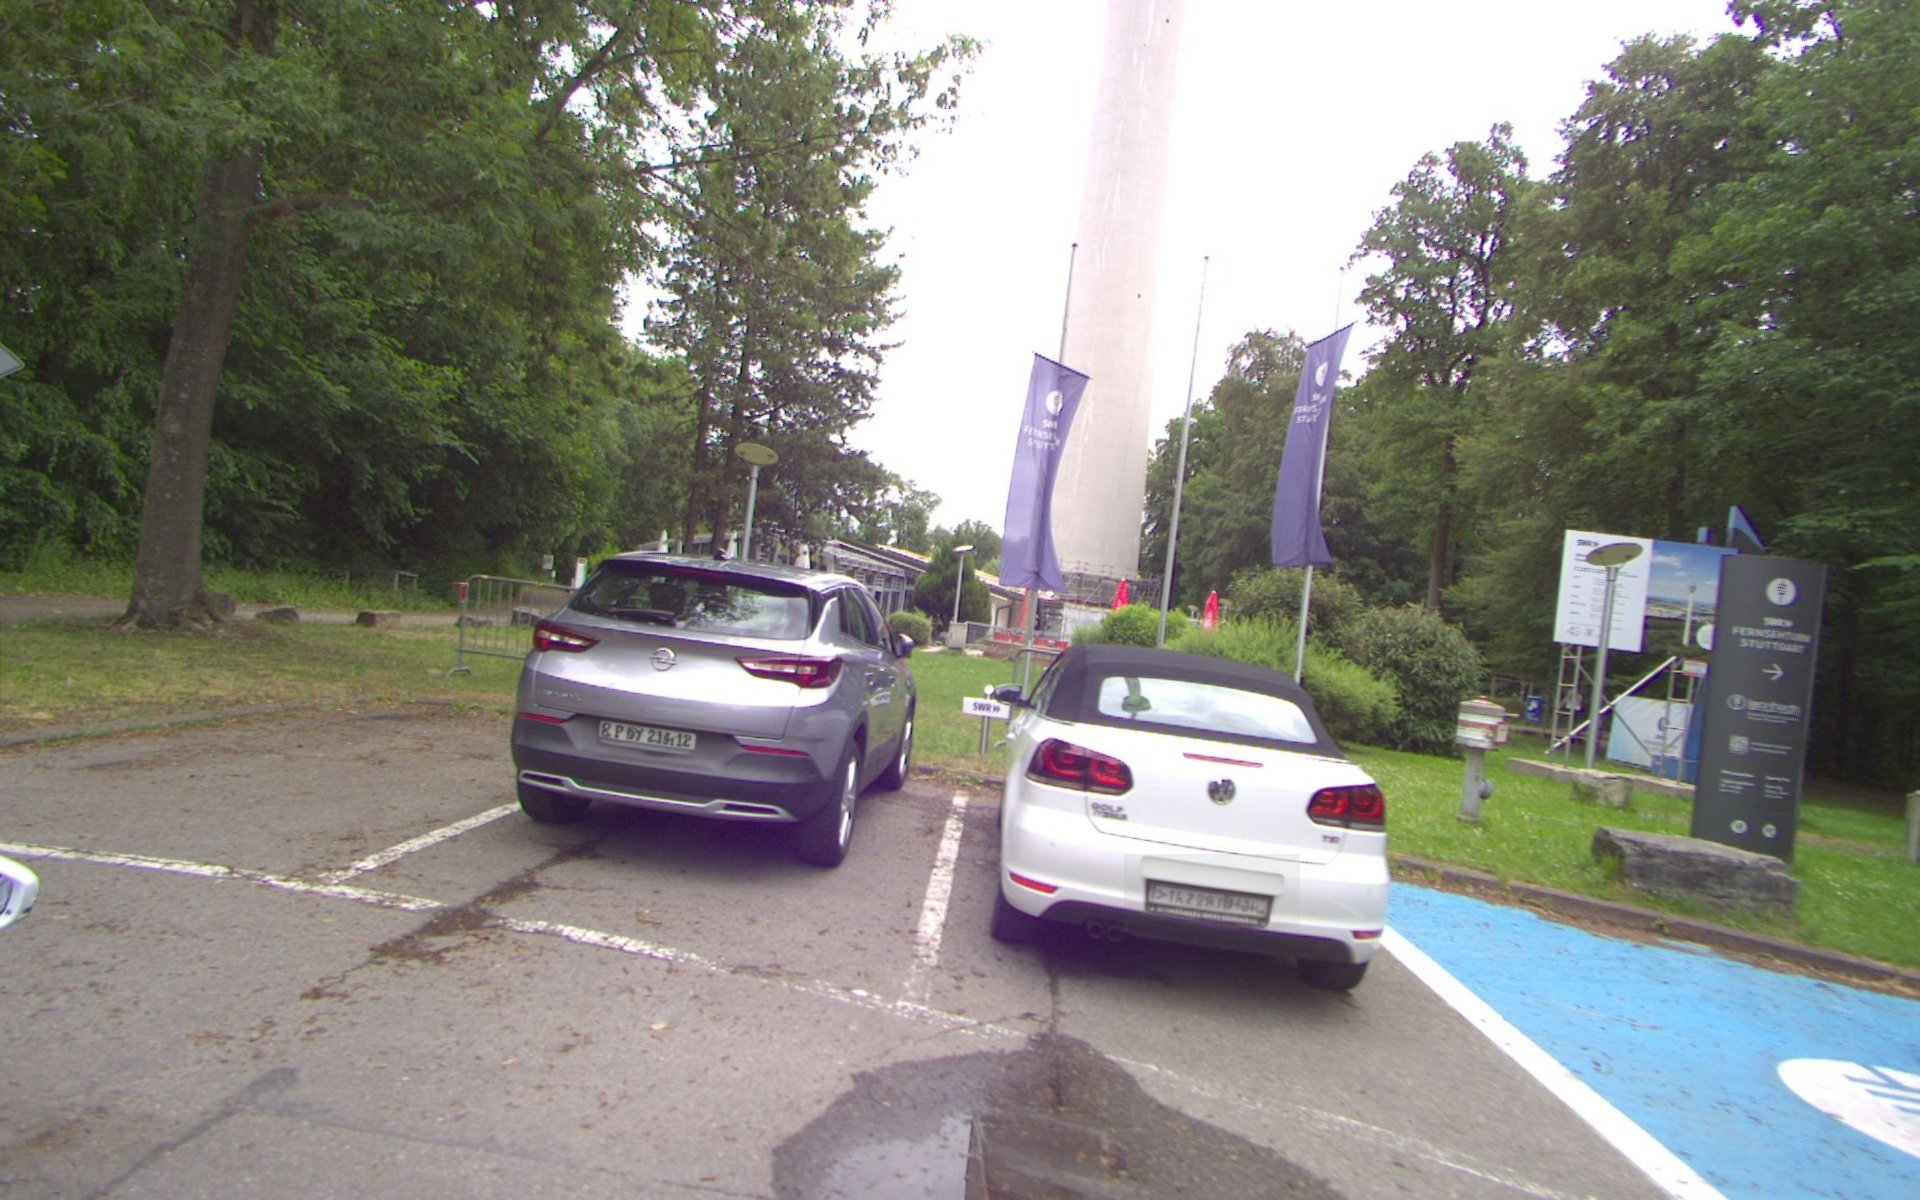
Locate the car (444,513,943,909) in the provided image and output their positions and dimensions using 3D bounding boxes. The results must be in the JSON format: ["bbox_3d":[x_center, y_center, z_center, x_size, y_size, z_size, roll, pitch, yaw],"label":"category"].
[{"bbox_3d":[-1.306,0.569,6.730,1.863,1.604,4.002,8,-1,4],"label":"car"}]

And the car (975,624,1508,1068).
[{"bbox_3d":[1.198,0.998,5.888,1.864,1.445,4.002,8,-1,4],"label":"car"}]
